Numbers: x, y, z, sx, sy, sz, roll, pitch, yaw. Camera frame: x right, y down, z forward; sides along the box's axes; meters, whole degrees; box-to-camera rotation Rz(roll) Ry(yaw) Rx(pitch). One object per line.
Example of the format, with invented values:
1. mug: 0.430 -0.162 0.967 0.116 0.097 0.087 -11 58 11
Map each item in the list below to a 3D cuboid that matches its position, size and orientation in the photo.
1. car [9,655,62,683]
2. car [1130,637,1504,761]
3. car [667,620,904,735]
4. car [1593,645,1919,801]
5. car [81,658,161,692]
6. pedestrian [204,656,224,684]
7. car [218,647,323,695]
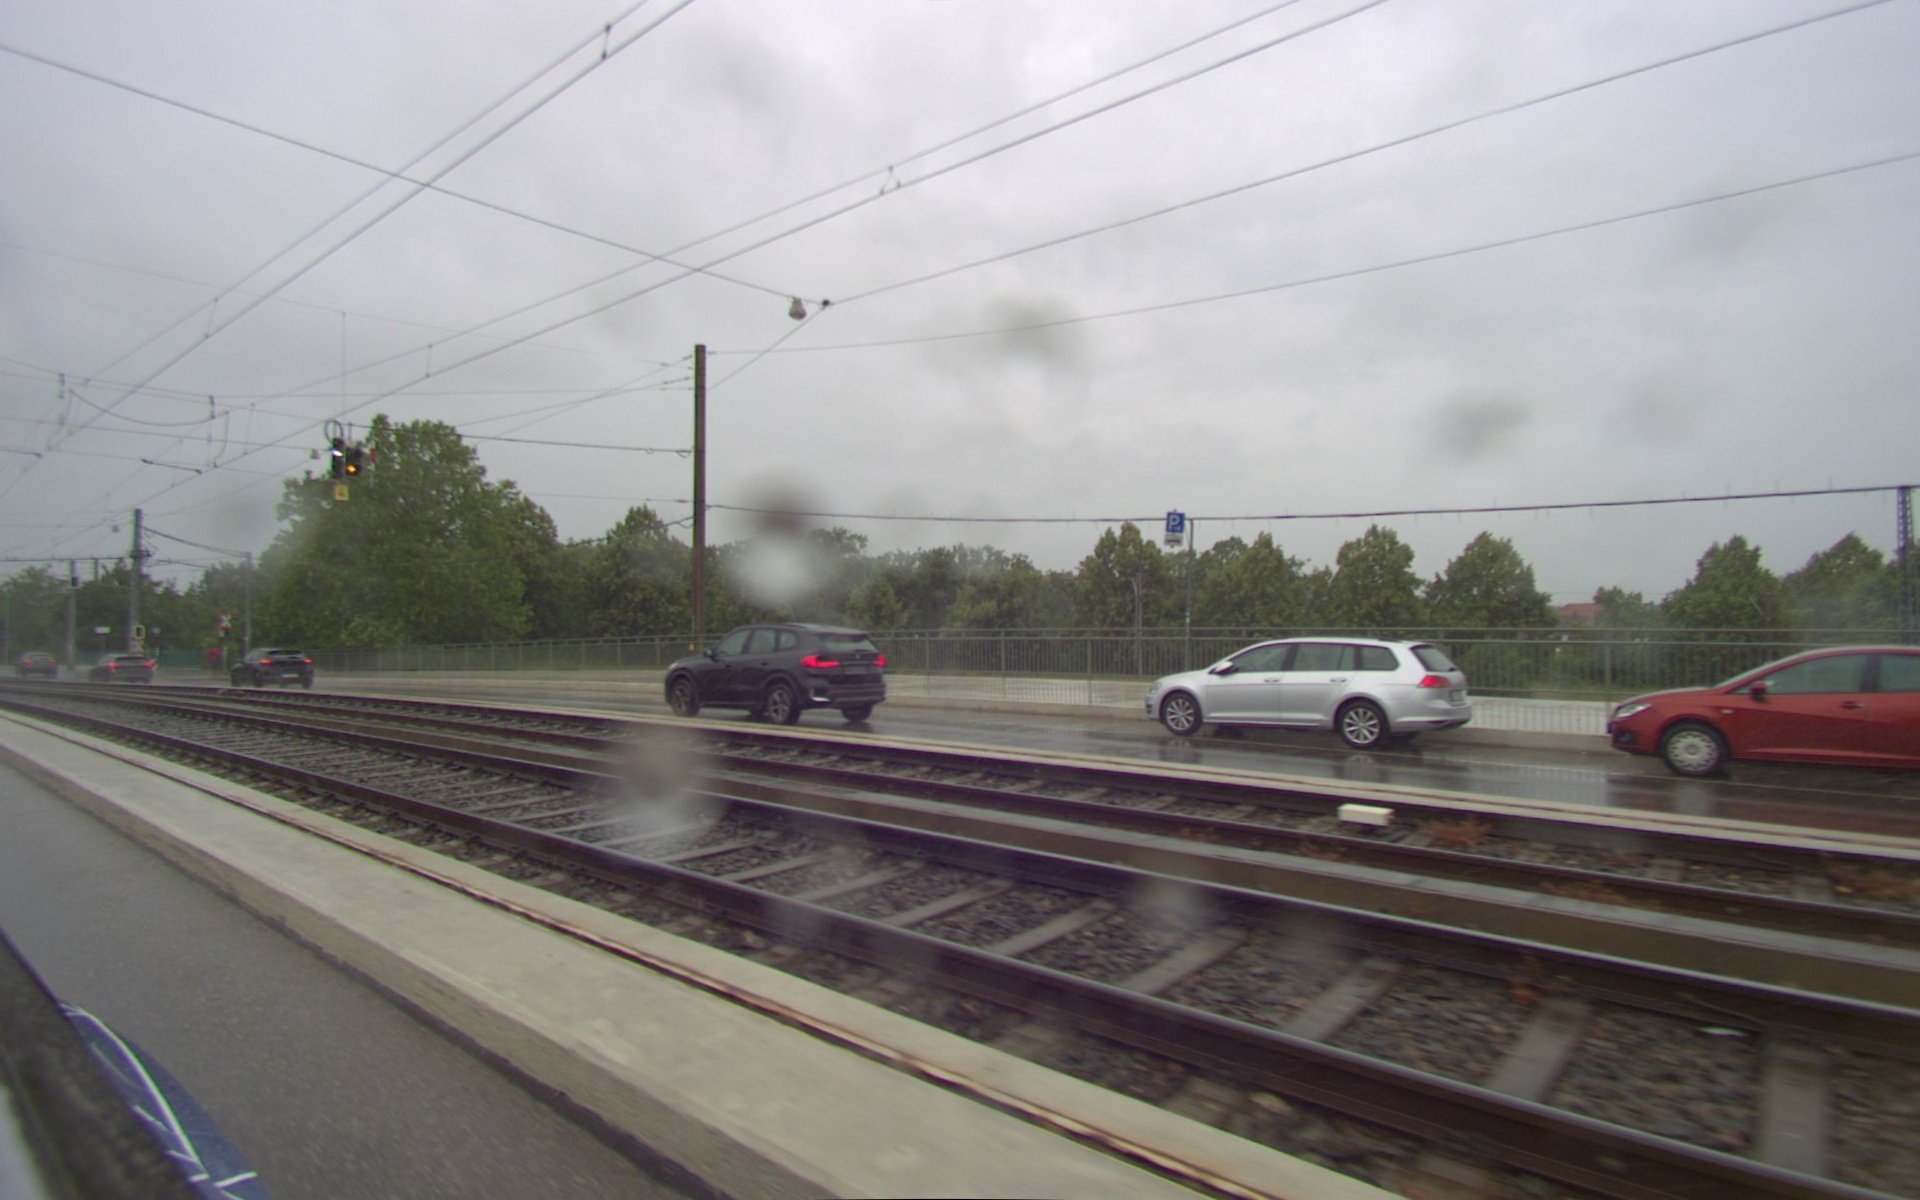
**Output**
1. car: -62.256 4.601 68.098 4.938 1.730 1.973 -2 -4 41
2. car: 4.921 1.287 14.346 4.616 1.467 1.973 -2 -4 40
3. car: -3.006 1.200 16.964 3.998 1.667 1.799 -2 -1 41
4. car: 9.286 1.233 10.612 4.319 1.467 1.604 -2 -4 40
5. car: -41.087 3.642 49.517 5.107 1.521 1.974 -1 -4 38
6. pedestrian: -50.332 4.710 68.262 1.041 1.832 0.856 -2 -1 39
7. car: -24.350 2.472 35.717 4.088 1.521 1.973 -2 -4 40
